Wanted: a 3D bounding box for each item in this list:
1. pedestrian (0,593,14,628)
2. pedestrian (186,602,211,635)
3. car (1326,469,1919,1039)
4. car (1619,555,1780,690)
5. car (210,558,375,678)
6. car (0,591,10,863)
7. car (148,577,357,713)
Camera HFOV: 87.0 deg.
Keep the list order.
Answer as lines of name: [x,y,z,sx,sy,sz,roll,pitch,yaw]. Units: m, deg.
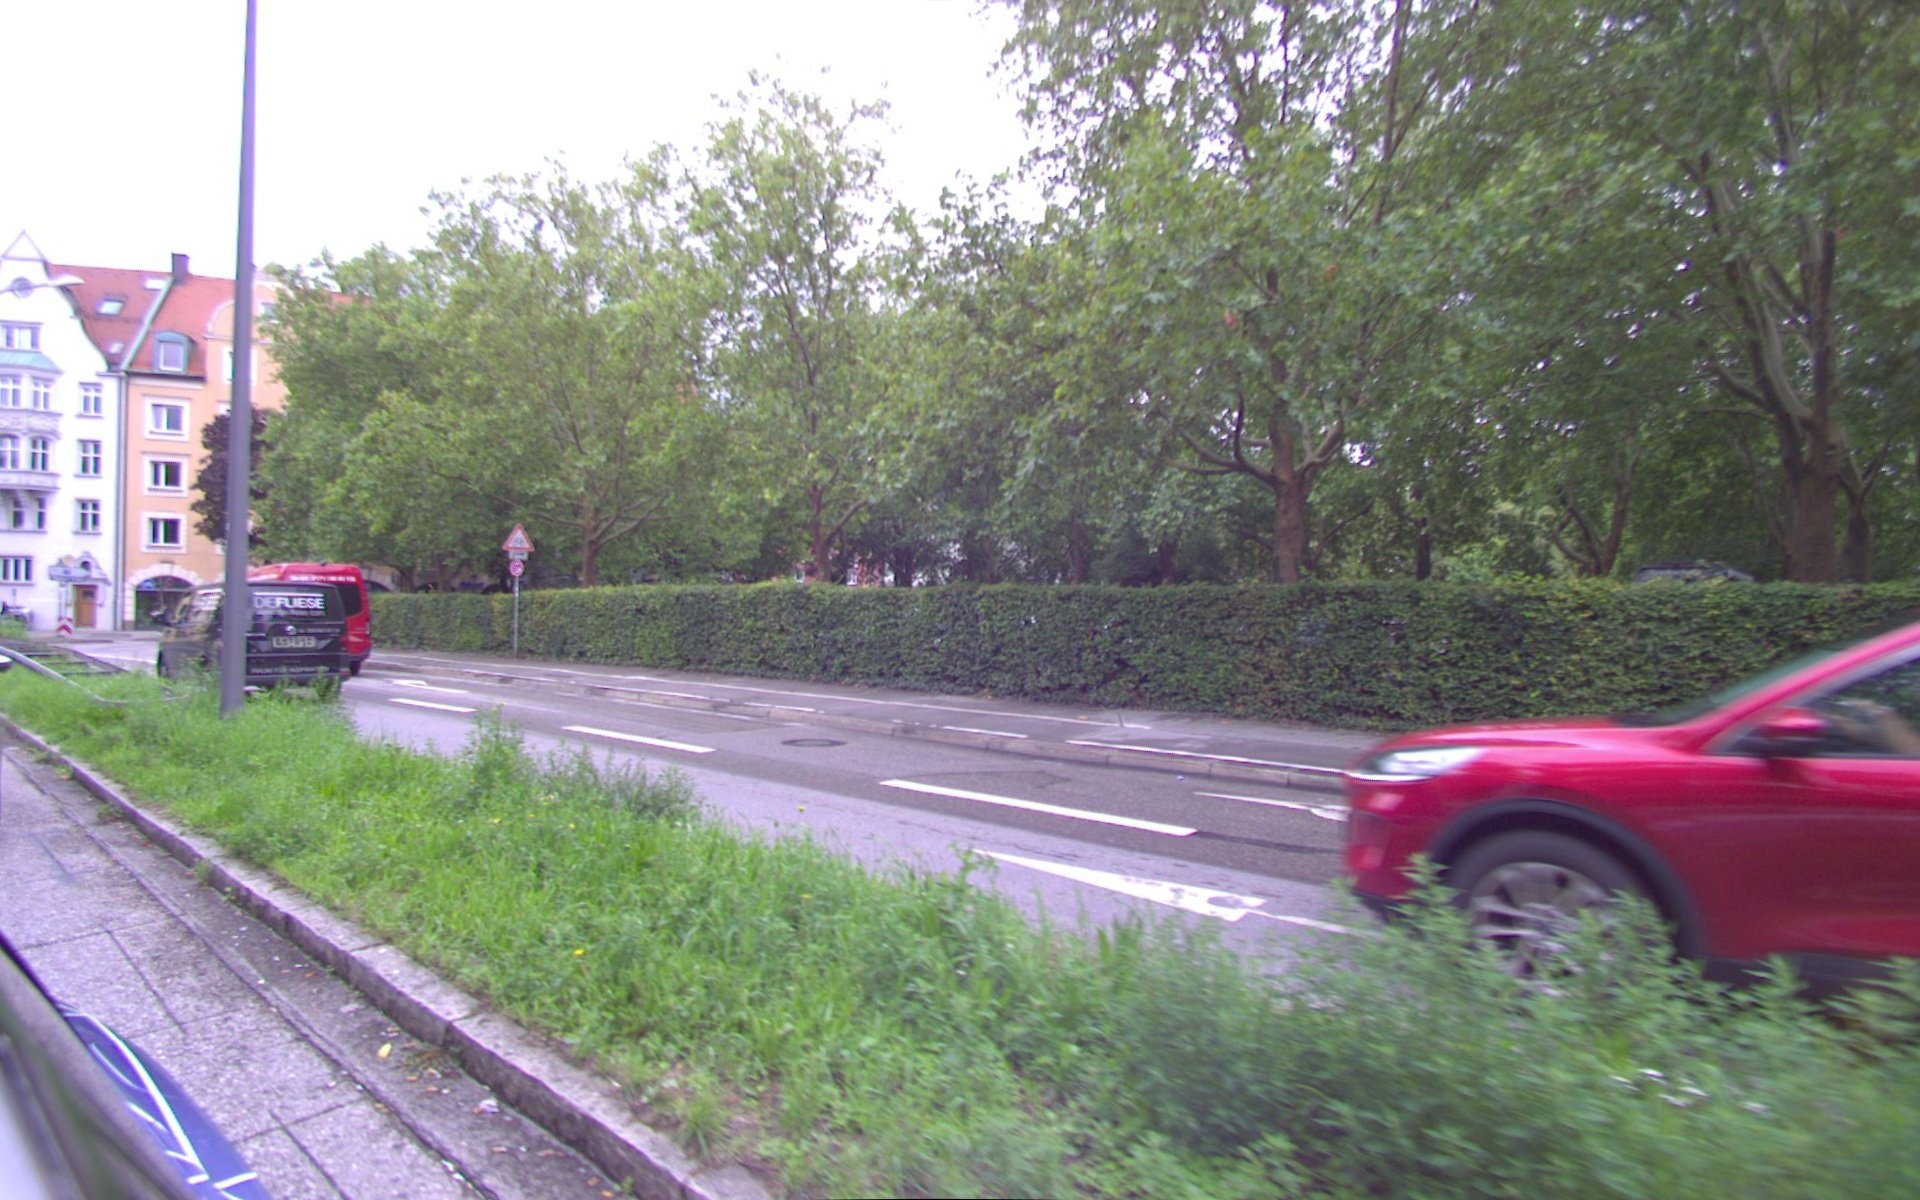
pedestrian: [-55.992,0.597,58.991,0.991,2.029,0.881,0,0,-17]
pedestrian: [-47.009,1.144,62.468,0.991,2.029,0.881,0,0,-17]
car: [4.020,0.458,3.262,4.935,1.650,2.082,-2,-3,40]
car: [16.065,0.406,21.847,2.001,2.554,5.778,0,0,44]
car: [-16.440,0.509,24.760,6.083,2.609,2.079,-2,-4,44]
car: [-7.439,0.718,6.404,3.885,1.541,1.688,-1,-2,41]
car: [-12.122,0.706,17.214,4.703,2.006,1.837,-1,-2,41]
